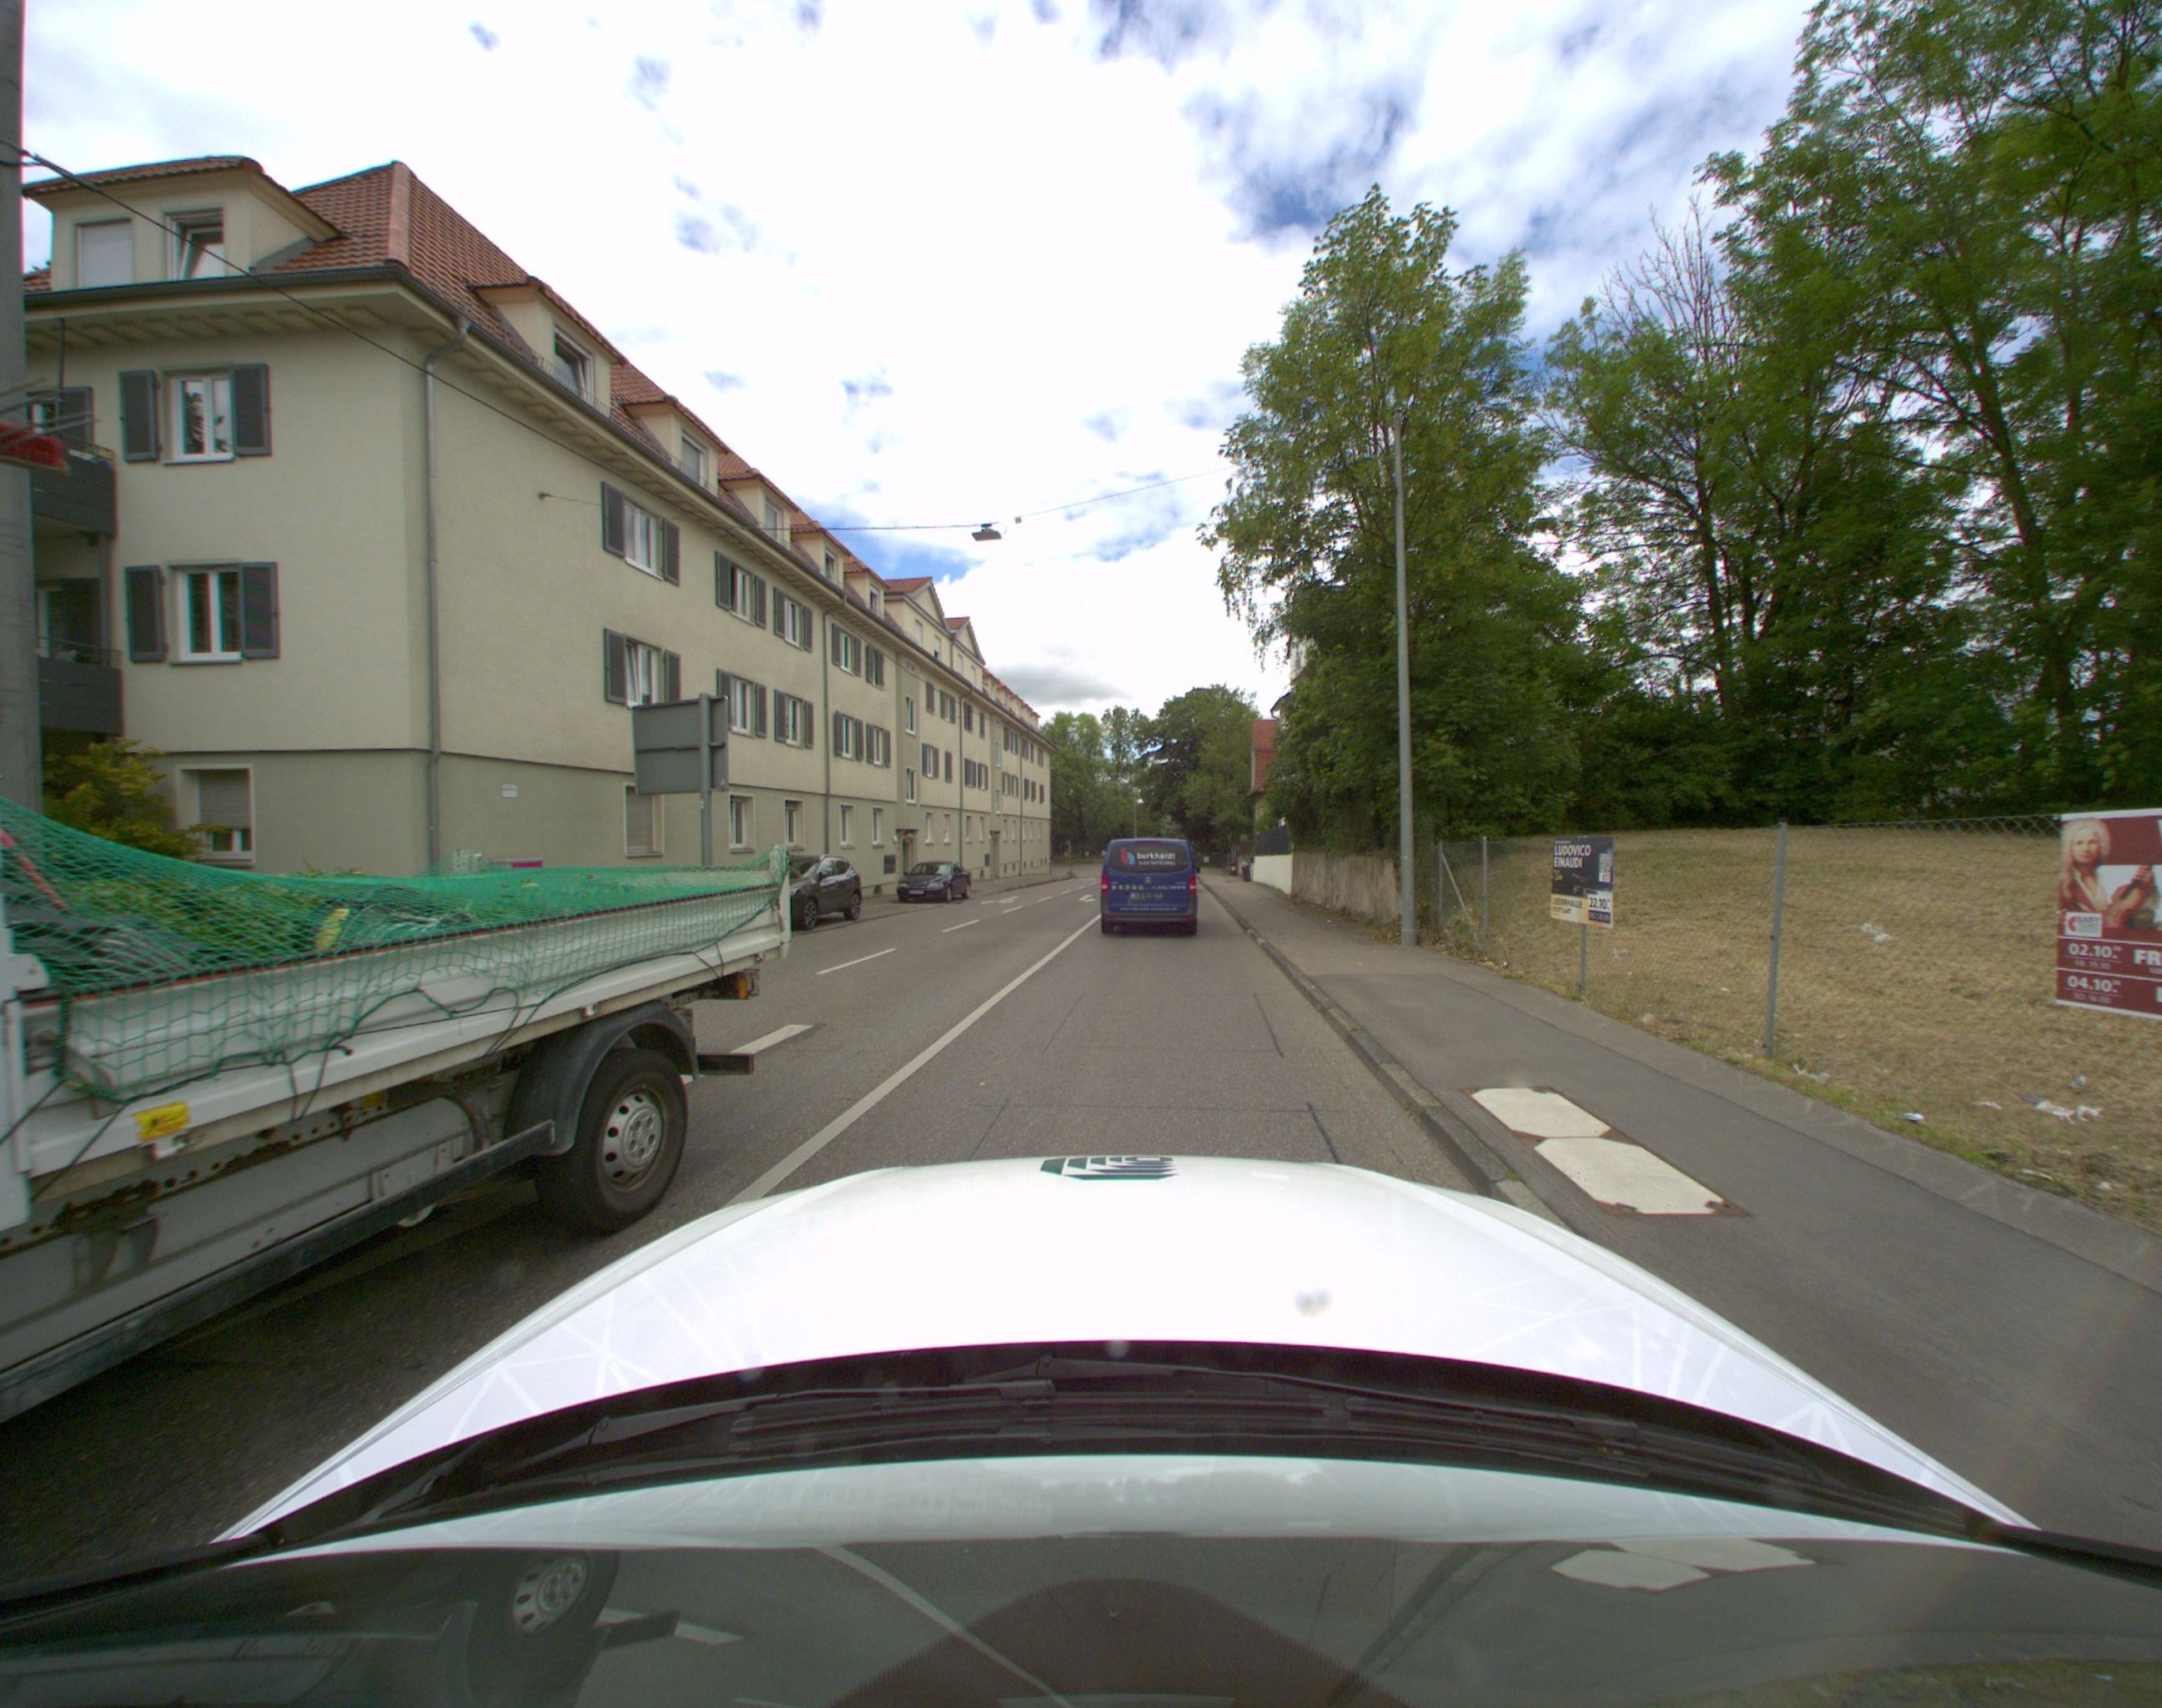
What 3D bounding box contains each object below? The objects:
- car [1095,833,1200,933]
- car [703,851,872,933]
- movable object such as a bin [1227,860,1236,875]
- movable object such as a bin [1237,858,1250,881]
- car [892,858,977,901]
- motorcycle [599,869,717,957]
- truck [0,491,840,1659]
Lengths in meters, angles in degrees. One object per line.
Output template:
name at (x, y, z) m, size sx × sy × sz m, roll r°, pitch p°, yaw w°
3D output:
car at (1.388, 0.566, 17.168) m, size 1.905 × 1.838 × 4.298 m, roll 0°, pitch -1°, yaw 4°
car at (-6.515, 0.749, 18.728) m, size 1.813 × 1.633 × 4.703 m, roll 0°, pitch 0°, yaw 5°
movable object such as a bin at (9.795, 0.901, 52.963) m, size 0.459 × 0.924 × 0.567 m, roll -4°, pitch -1°, yaw 5°
movable object such as a bin at (8.531, 0.824, 42.672) m, size 0.525 × 1.178 × 0.635 m, roll -4°, pitch -1°, yaw 5°
car at (-5.166, 0.903, 29.326) m, size 1.702 × 1.403 × 4.853 m, roll -1°, pitch -1°, yaw 6°
motorcycle at (-7.017, 0.926, 13.656) m, size 0.622 × 1.290 × 2.233 m, roll 1°, pitch 0°, yaw 5°
truck at (-3.026, 0.409, 2.109) m, size 2.109 × 2.201 × 6.602 m, roll 0°, pitch 0°, yaw 7°
